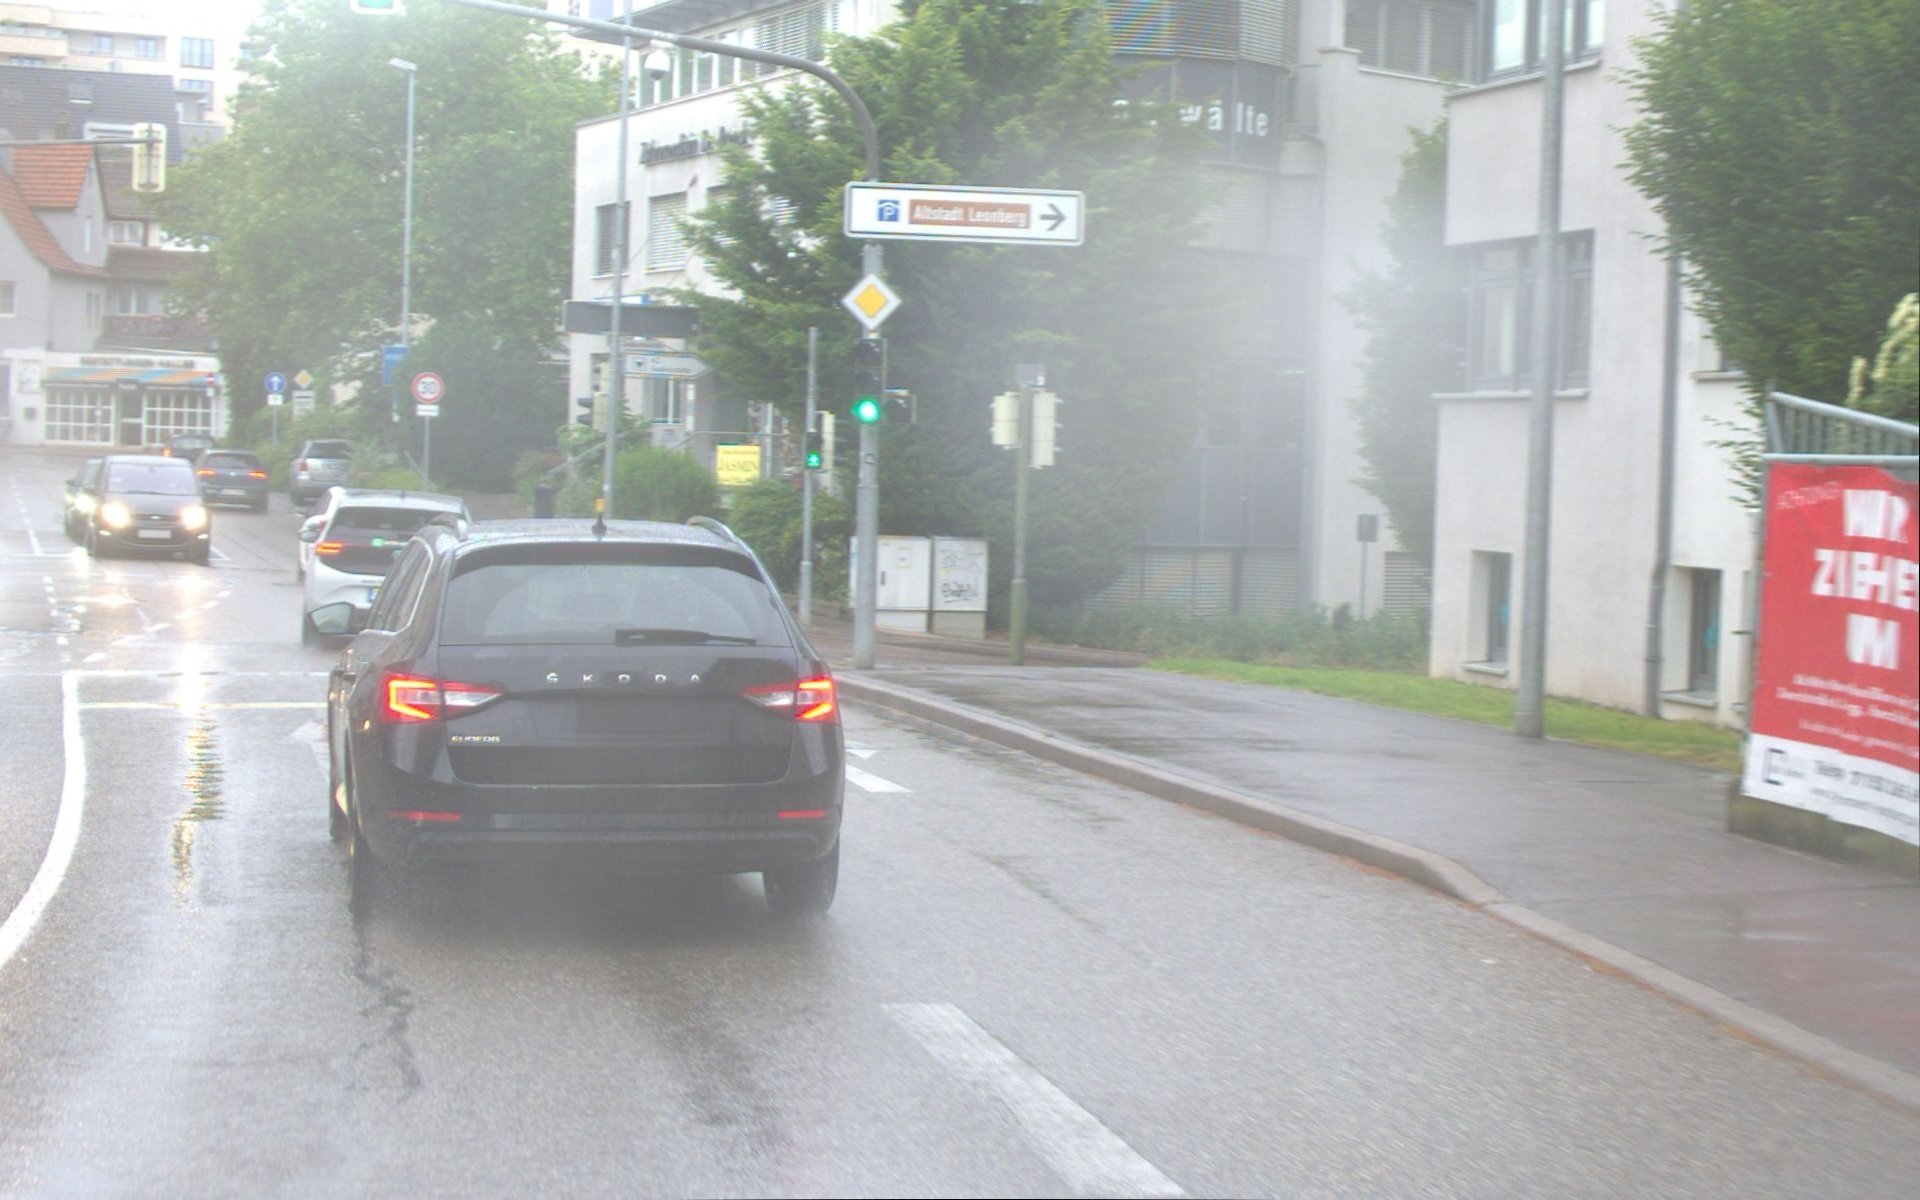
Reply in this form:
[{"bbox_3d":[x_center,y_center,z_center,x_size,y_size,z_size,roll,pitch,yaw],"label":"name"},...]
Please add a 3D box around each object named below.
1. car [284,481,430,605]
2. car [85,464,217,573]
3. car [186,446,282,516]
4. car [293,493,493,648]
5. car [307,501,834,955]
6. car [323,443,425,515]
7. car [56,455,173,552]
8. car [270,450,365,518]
[{"bbox_3d":[-8.525,-0.766,48.397,1.727,1.585,4.185,3,-1,-13],"label":"car"},{"bbox_3d":[-13.208,-1.362,55.981,1.784,1.557,4.404,2,3,-17],"label":"car"},{"bbox_3d":[-17.037,-2.783,80.558,1.892,1.585,3.690,0,2,-17],"label":"car"},{"bbox_3d":[-5.665,-0.335,34.250,1.817,1.355,3.991,2,2,-10],"label":"car"},{"bbox_3d":[-1.719,0.370,13.894,1.781,1.478,4.247,-1,2,-11],"label":"car"},{"bbox_3d":[-13.923,-2.882,81.595,1.851,1.635,3.540,0,3,-18],"label":"car"},{"bbox_3d":[-15.276,-1.767,61.997,1.784,1.557,4.404,2,3,-17],"label":"car"},{"bbox_3d":[-16.338,-2.955,87.270,1.851,1.635,3.873,0,3,-18],"label":"car"}]
